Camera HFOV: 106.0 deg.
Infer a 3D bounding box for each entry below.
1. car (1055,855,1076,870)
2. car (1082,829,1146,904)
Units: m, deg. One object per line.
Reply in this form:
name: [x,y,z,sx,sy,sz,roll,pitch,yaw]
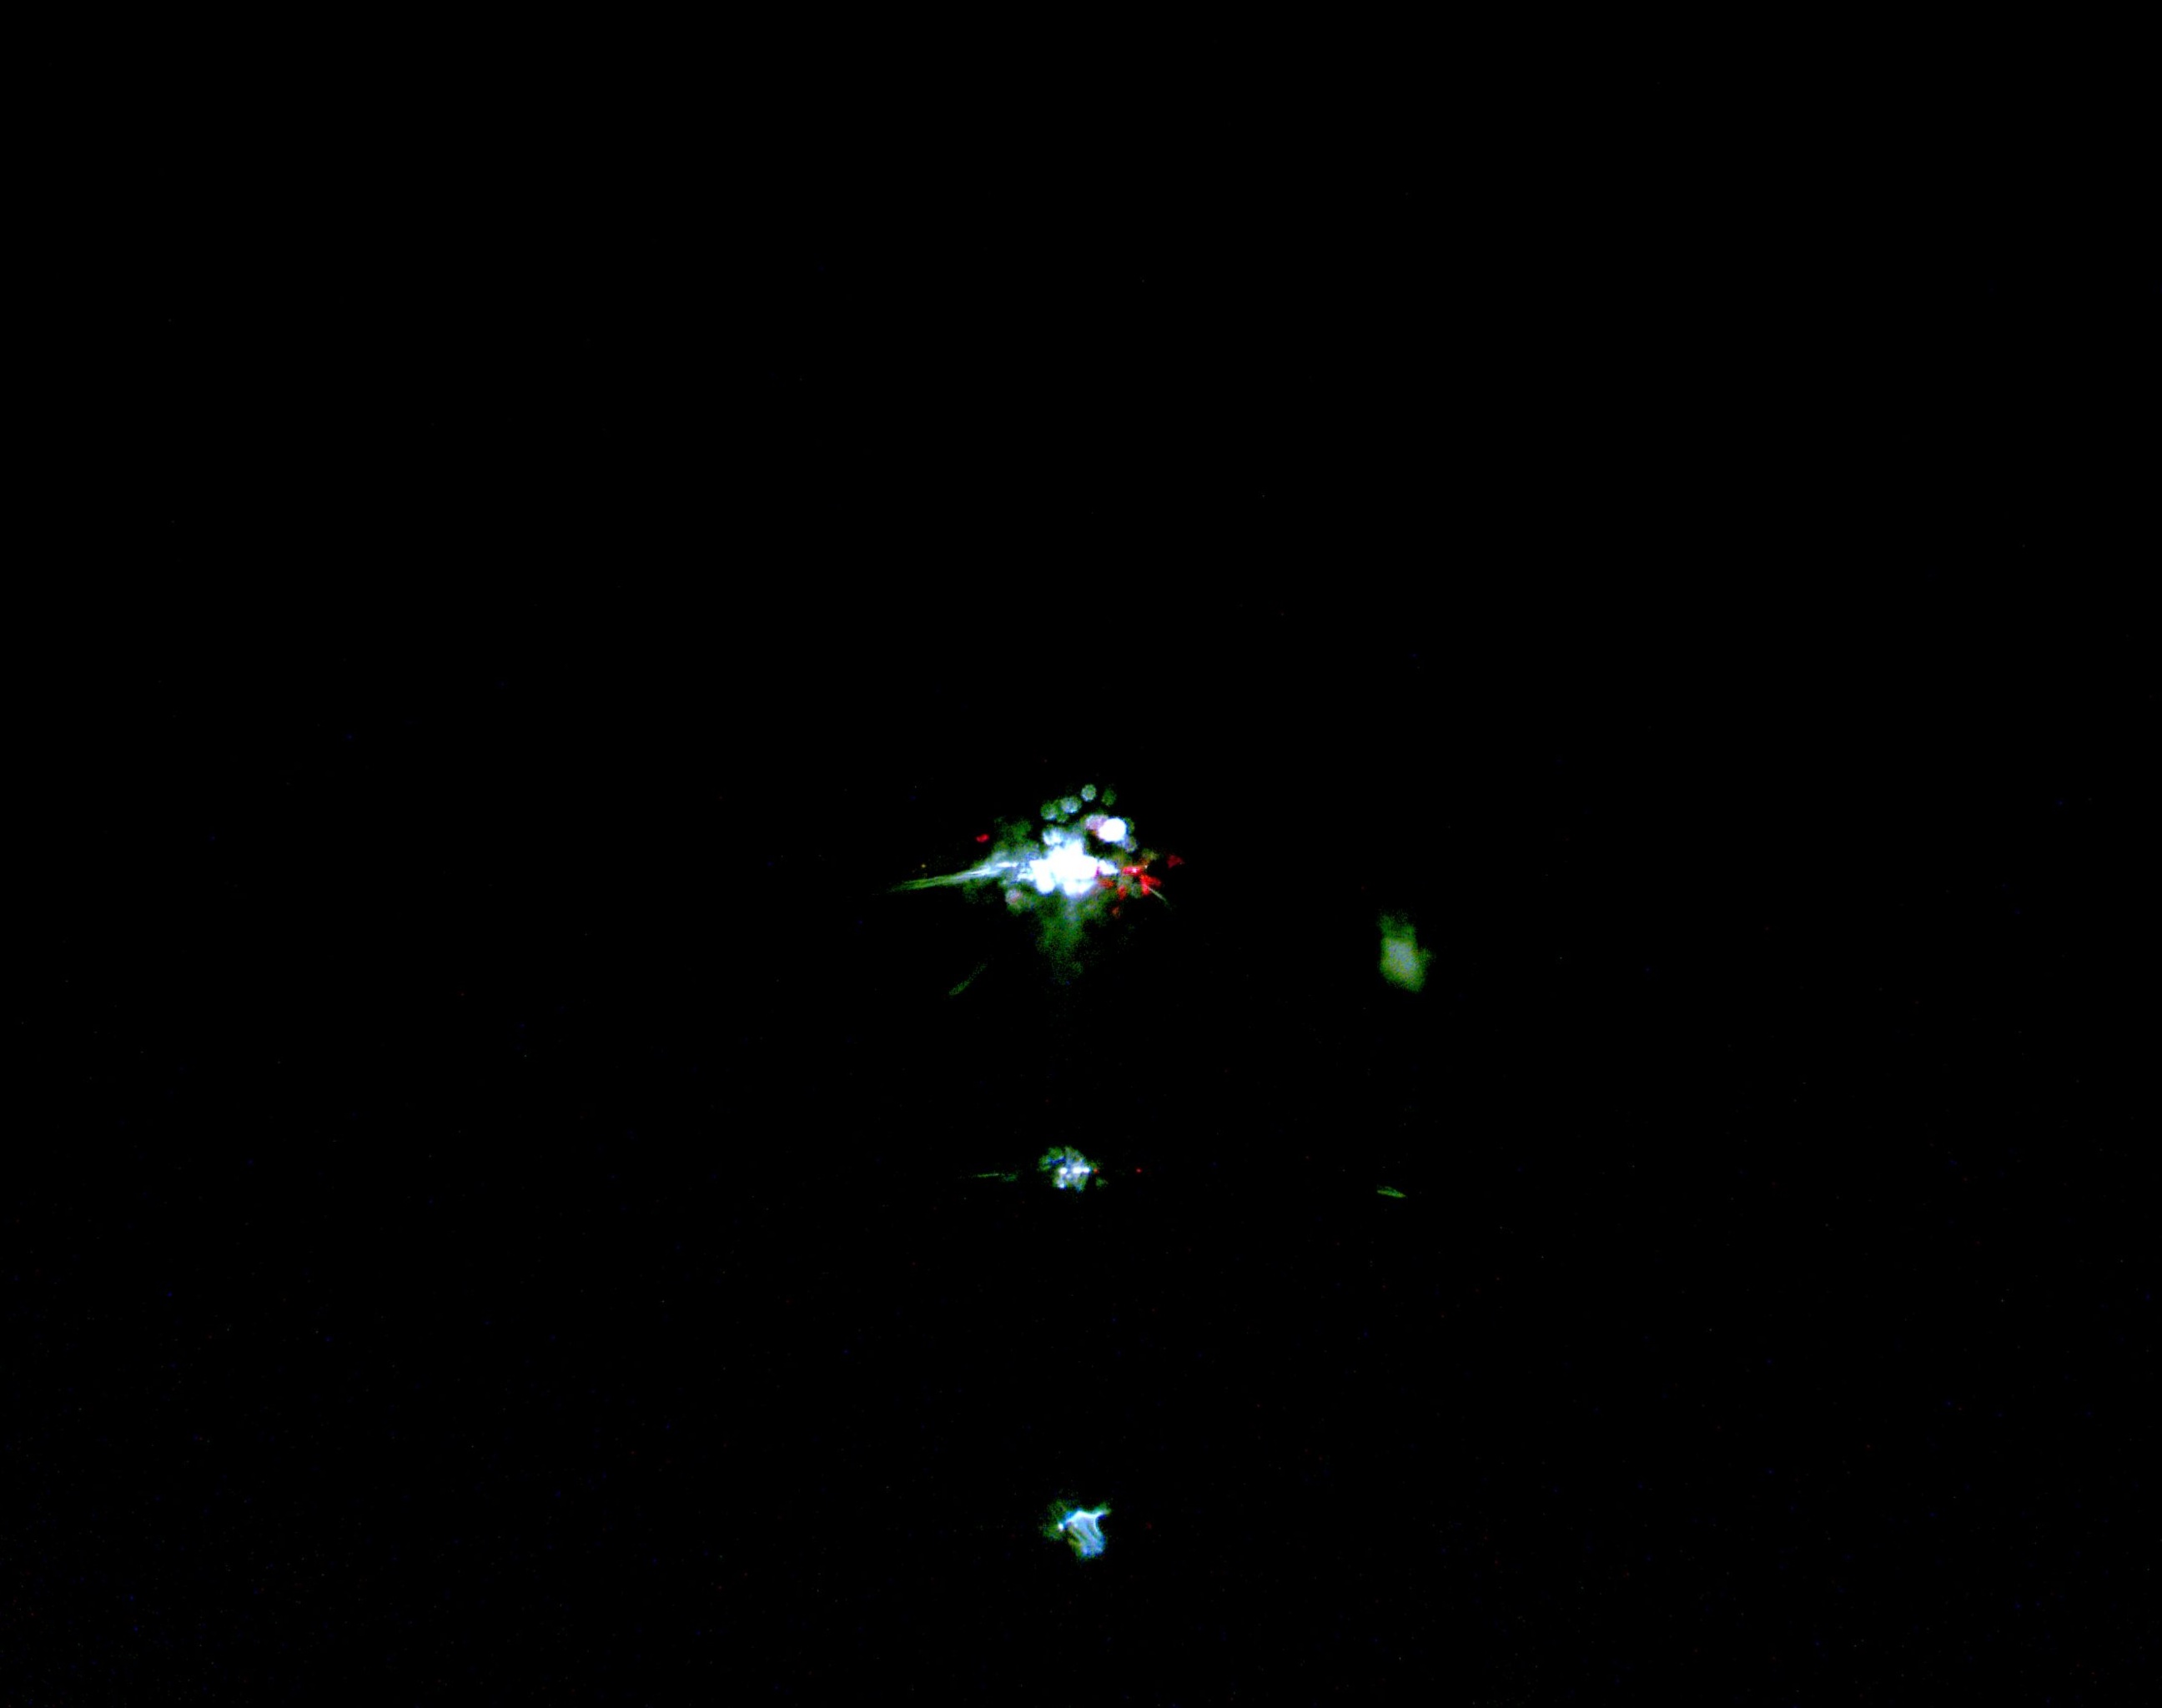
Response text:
car: [-1.562,0.852,84.243,1.968,1.516,4.348,-1,0,1]
car: [1.203,0.373,30.577,2.173,2.557,4.510,1,2,1]
